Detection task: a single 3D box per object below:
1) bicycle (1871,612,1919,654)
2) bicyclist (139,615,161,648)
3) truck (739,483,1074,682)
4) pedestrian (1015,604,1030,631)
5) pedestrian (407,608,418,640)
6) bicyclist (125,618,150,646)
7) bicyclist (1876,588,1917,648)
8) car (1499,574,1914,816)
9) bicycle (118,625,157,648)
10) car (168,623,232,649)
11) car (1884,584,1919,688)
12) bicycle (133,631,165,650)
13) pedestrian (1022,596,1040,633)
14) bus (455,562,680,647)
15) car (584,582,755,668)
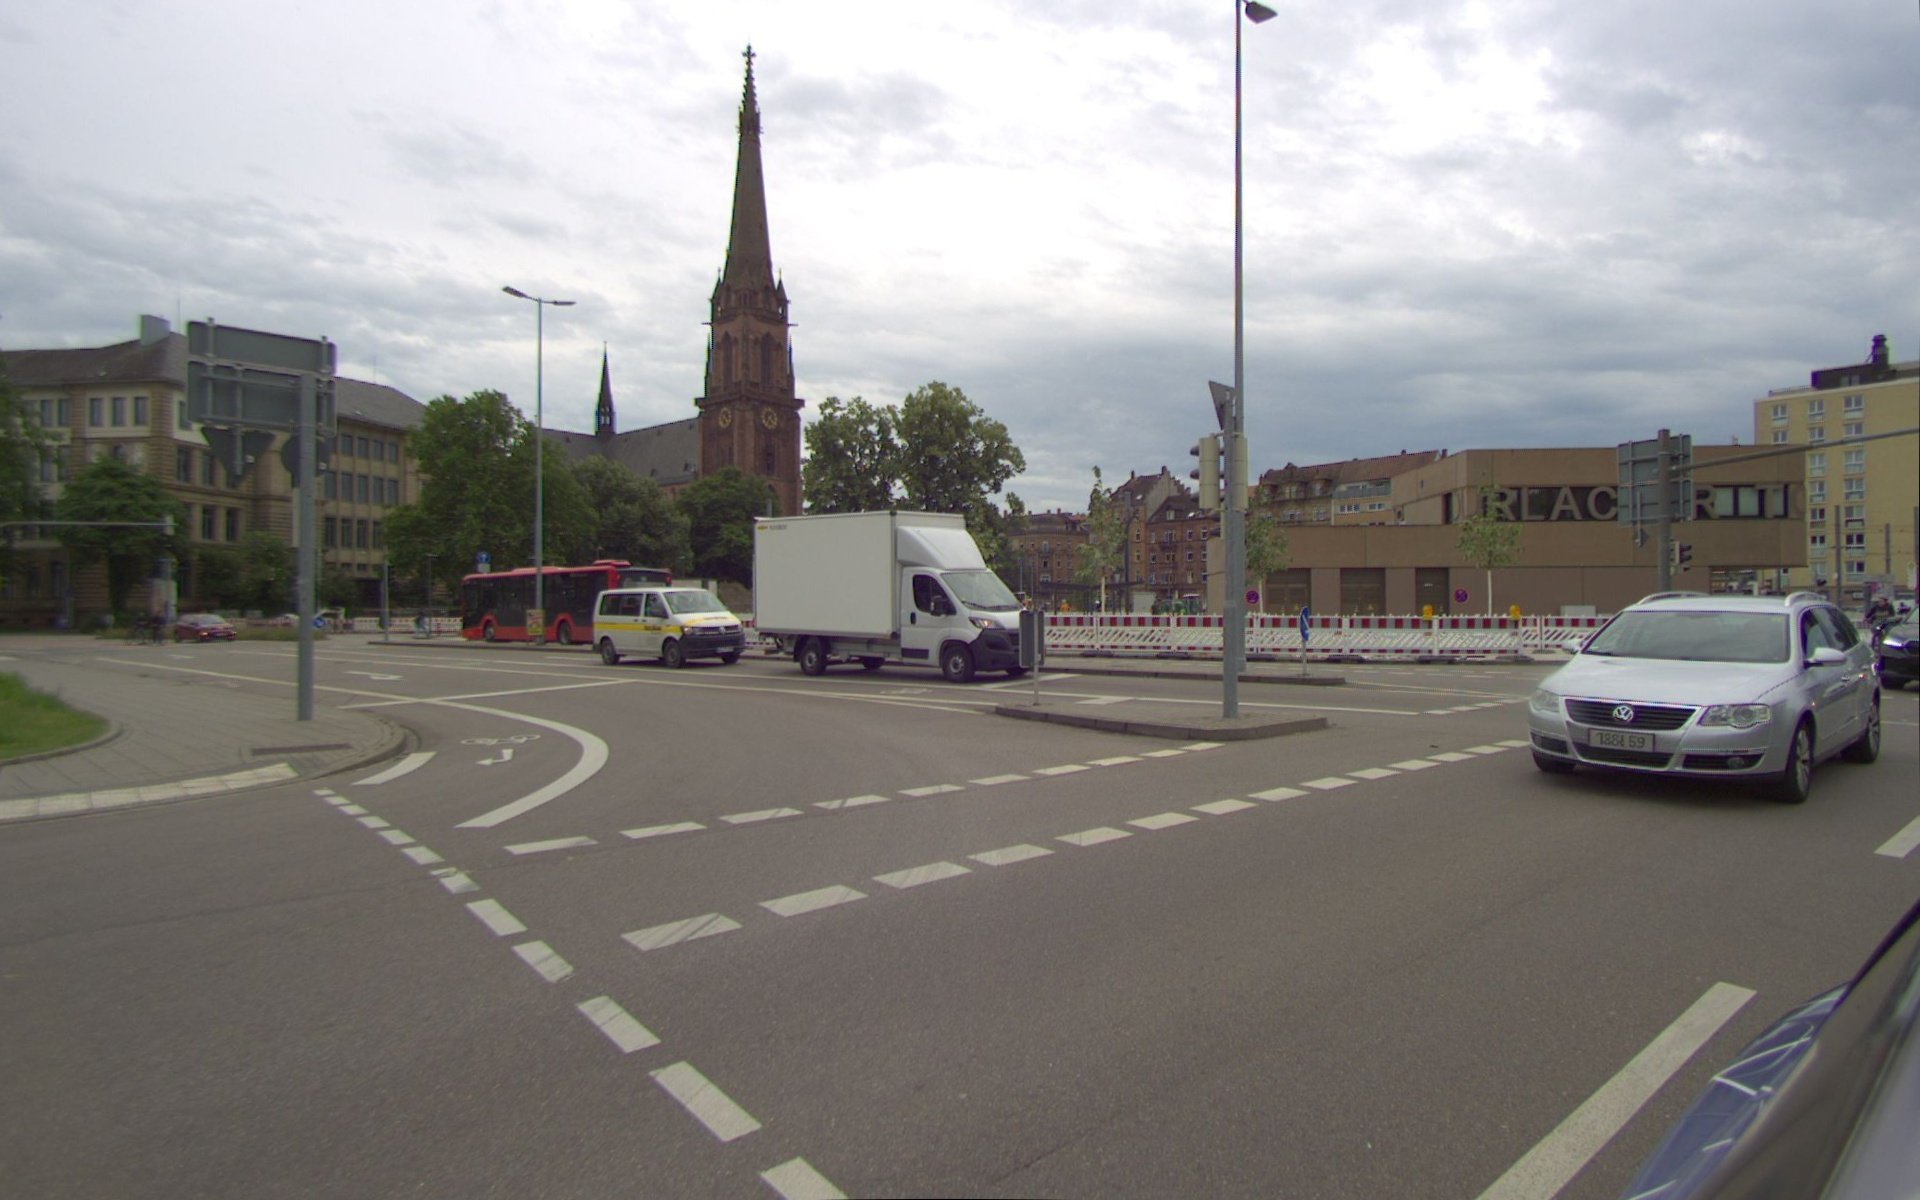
[{"bbox_3d":[26.563,0.926,28.699,1.832,1.144,0.694,1,0,-36],"label":"bicycle"},{"bbox_3d":[-39.705,1.535,49.620,0.775,1.540,0.596,1,0,29],"label":"bicyclist"},{"bbox_3d":[-1.285,-0.256,20.658,6.818,3.454,2.526,-2,0,39],"label":"truck"},{"bbox_3d":[2.877,0.788,46.373,0.572,1.239,0.480,1,0,-9],"label":"pedestrian"},{"bbox_3d":[-29.828,1.324,55.150,0.372,1.727,0.366,1,0,43],"label":"pedestrian"},{"bbox_3d":[-41.732,1.599,51.340,0.734,1.374,0.784,1,0,30],"label":"bicyclist"},{"bbox_3d":[26.523,0.493,28.665,0.867,1.656,0.694,1,0,-35],"label":"bicyclist"},{"bbox_3d":[6.570,0.623,8.718,4.446,1.570,1.828,0,-1,-39],"label":"car"},{"bbox_3d":[-41.711,1.844,51.327,2.203,1.051,0.784,1,0,30],"label":"bicycle"},{"bbox_3d":[-39.536,1.856,52.633,3.509,1.171,1.431,1,0,31],"label":"car"},{"bbox_3d":[17.212,0.552,16.899,4.408,1.645,1.912,0,0,-38],"label":"car"},{"bbox_3d":[-39.784,1.993,49.655,1.804,0.830,0.595,1,0,29],"label":"bicycle"},{"bbox_3d":[3.289,0.675,46.937,0.611,1.684,0.499,1,0,-30],"label":"pedestrian"},{"bbox_3d":[-15.716,0.265,39.724,12.039,2.945,2.895,-1,-2,40],"label":"bus"},{"bbox_3d":[-7.468,0.595,25.763,4.694,1.943,1.893,-1,1,41],"label":"car"}]
